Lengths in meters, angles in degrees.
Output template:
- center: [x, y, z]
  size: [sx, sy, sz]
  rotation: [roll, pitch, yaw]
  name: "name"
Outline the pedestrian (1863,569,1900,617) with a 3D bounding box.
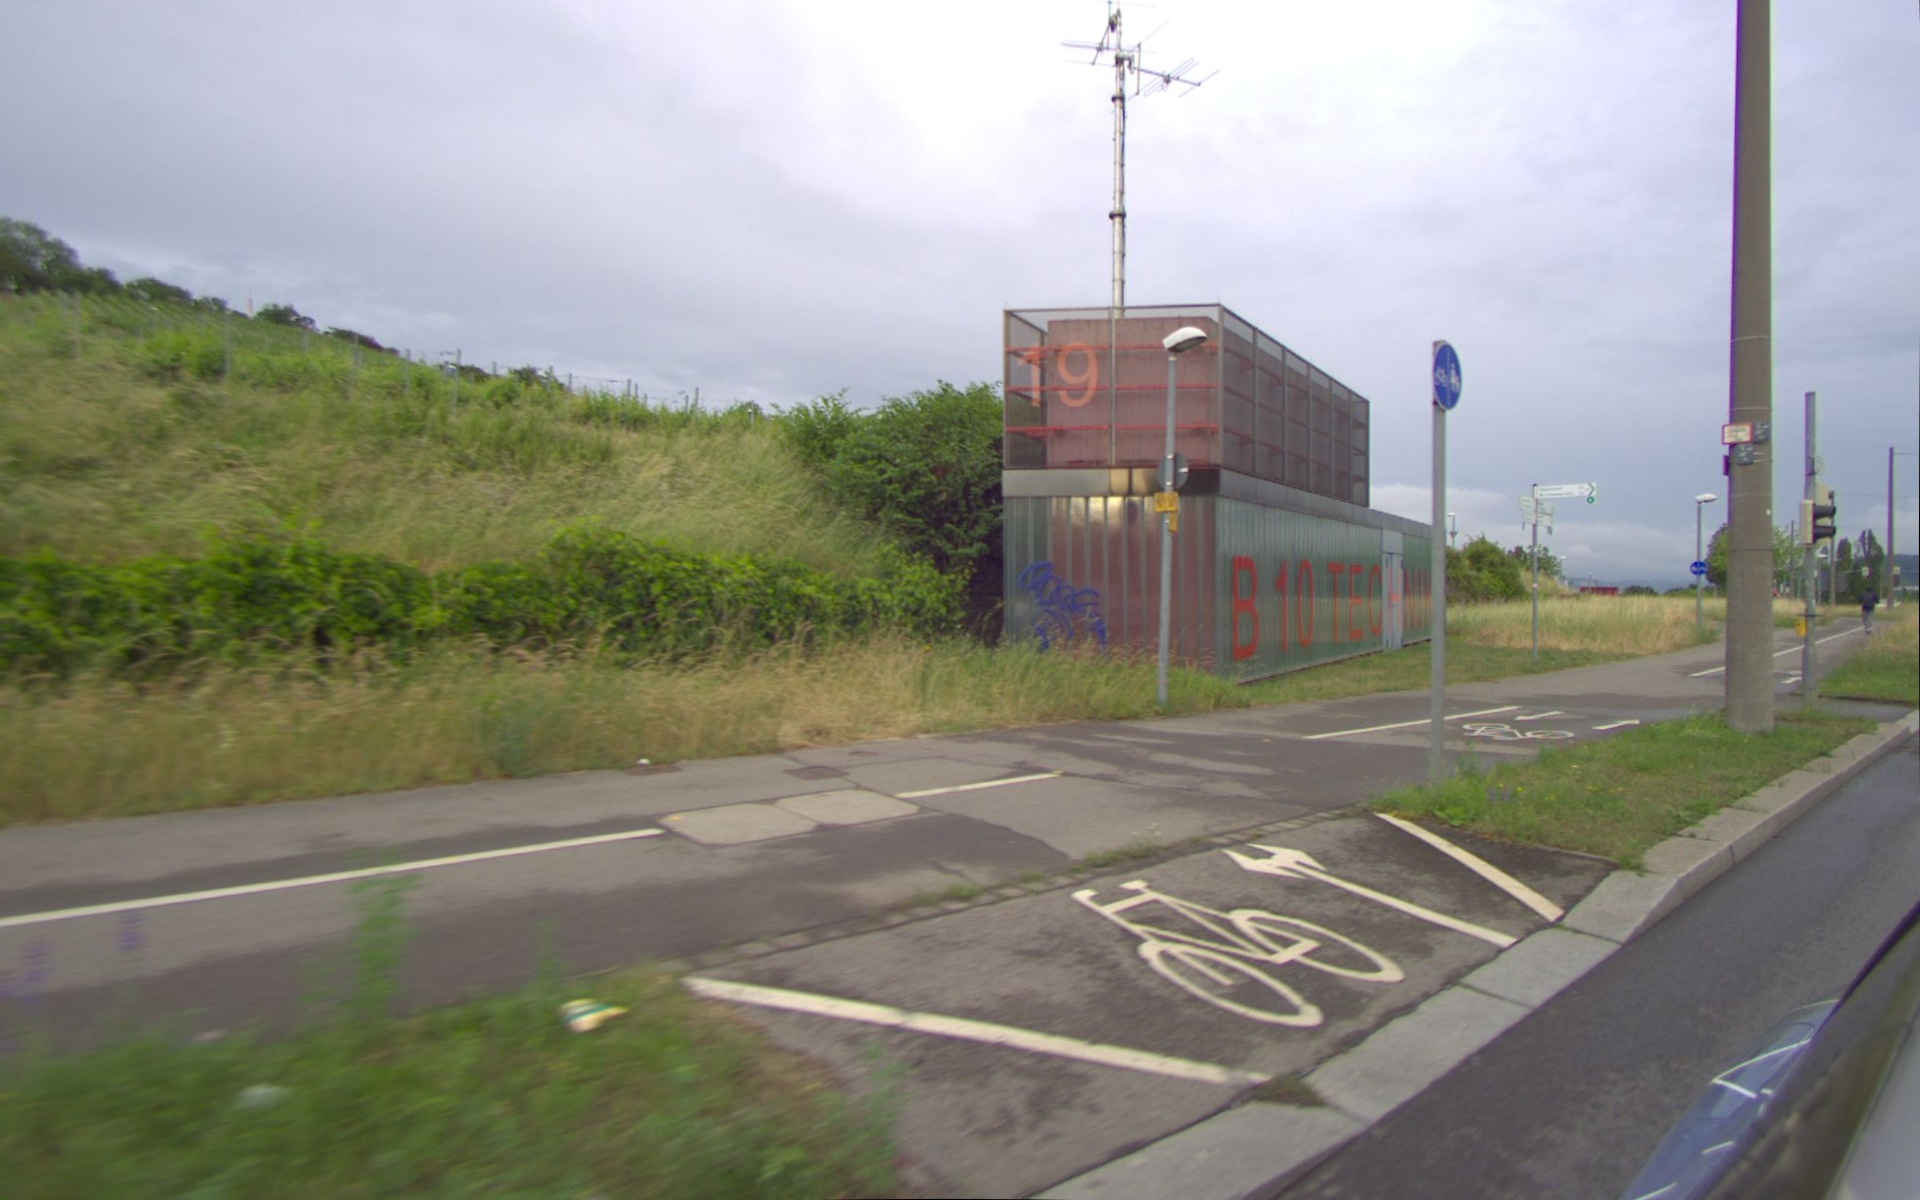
- center: [34.516, -0.250, 37.931]
  size: [0.794, 1.745, 0.977]
  rotation: [-3, -1, 33]
  name: "pedestrian"
